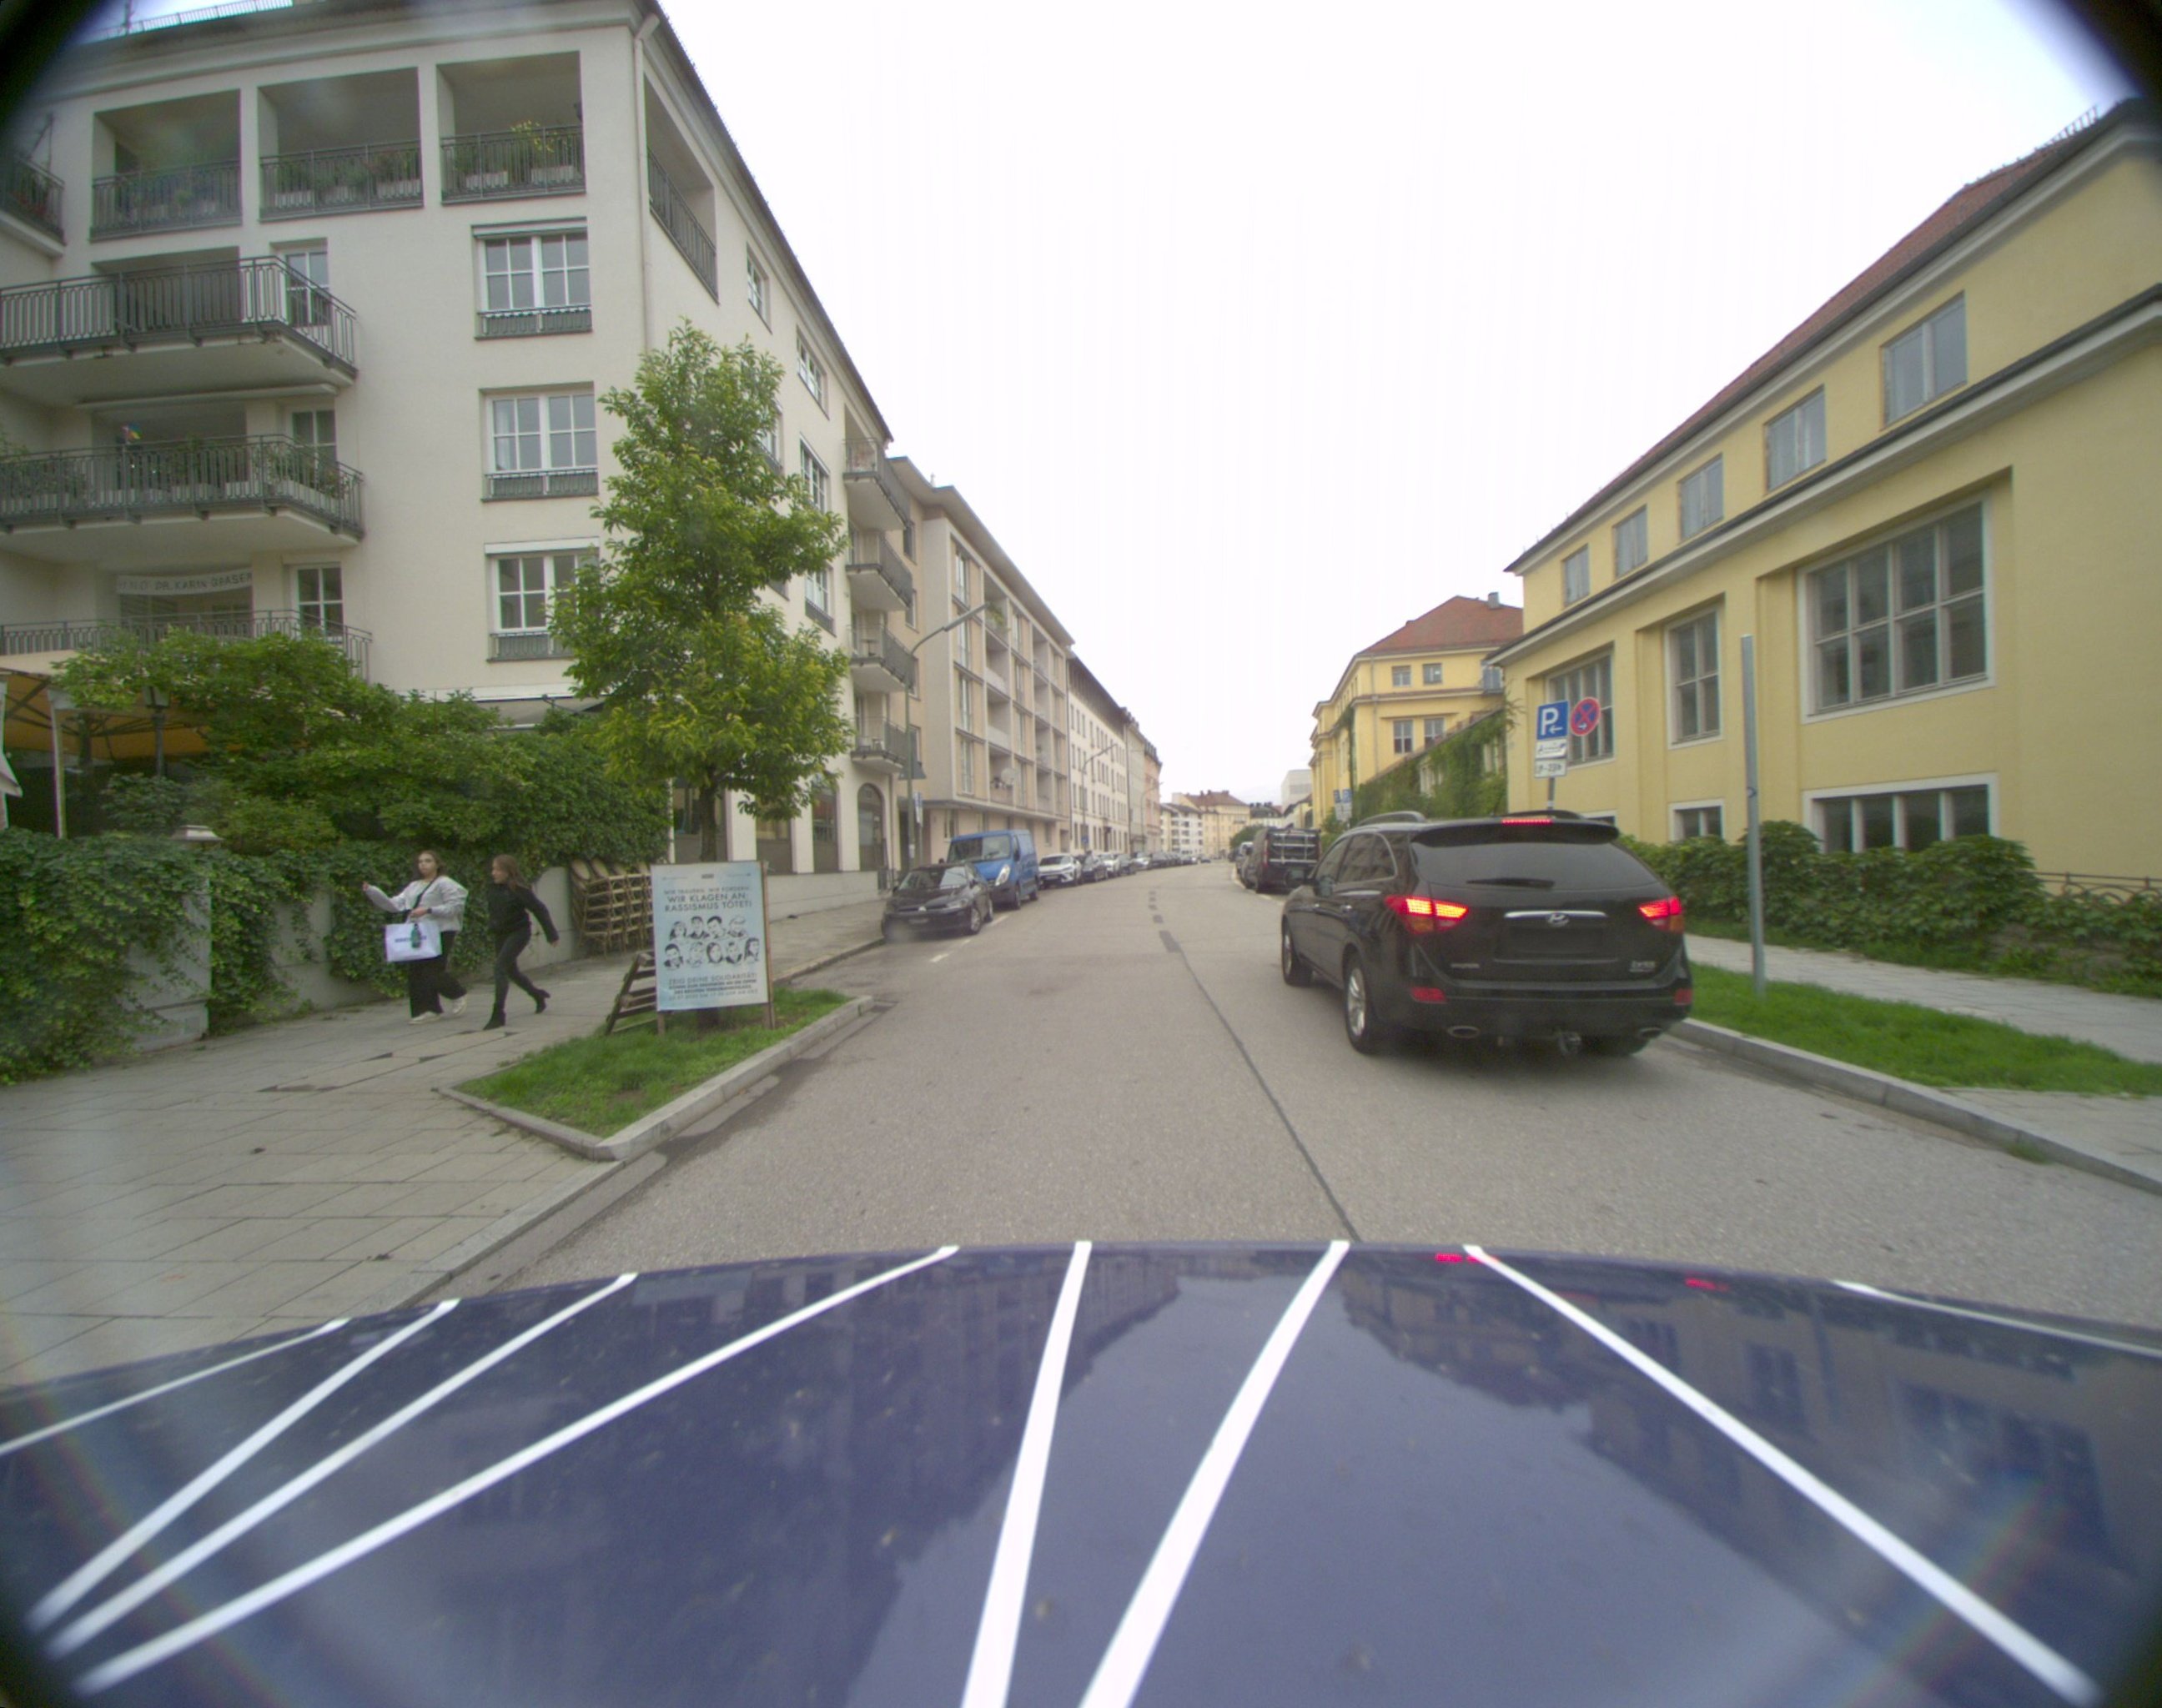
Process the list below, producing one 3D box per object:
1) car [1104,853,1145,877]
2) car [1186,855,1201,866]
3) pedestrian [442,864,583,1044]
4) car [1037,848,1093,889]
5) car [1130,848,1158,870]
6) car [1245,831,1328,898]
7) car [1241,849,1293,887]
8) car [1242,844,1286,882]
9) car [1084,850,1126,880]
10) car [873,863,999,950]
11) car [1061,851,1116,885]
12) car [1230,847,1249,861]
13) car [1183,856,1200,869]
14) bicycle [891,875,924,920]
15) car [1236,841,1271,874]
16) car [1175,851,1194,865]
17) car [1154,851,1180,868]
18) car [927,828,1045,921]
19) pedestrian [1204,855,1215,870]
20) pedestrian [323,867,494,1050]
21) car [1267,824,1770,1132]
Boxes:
[{"bbox_3d":[2.846,0.669,48.608,1.830,1.373,4.495,-4,-1,12],"label":"car"},{"bbox_3d":[17.021,0.973,114.801,1.999,1.563,4.495,-4,-1,12],"label":"car"},{"bbox_3d":[-5.451,0.920,7.339,0.680,1.619,0.829,-1,2,2],"label":"pedestrian"},{"bbox_3d":[-0.637,0.627,33.560,1.779,1.513,4.306,-6,-1,6],"label":"car"},{"bbox_3d":[4.944,0.375,59.213,1.617,1.507,3.383,-5,-1,13],"label":"car"},{"bbox_3d":[6.656,0.310,25.131,1.929,1.967,4.625,1,0,6],"label":"car"},{"bbox_3d":[7.423,0.545,30.588,1.709,1.357,4.005,3,0,10],"label":"car"},{"bbox_3d":[8.438,0.400,35.341,1.705,1.597,4.495,2,1,11],"label":"car"},{"bbox_3d":[1.439,0.600,43.712,1.705,1.460,4.123,-6,-1,10],"label":"car"},{"bbox_3d":[-2.867,0.991,15.898,1.719,1.386,4.000,-5,0,0],"label":"car"},{"bbox_3d":[0.464,0.678,38.630,1.775,1.420,4.697,-6,-1,12],"label":"car"},{"bbox_3d":[29.948,0.071,143.621,2.845,2.536,6.896,-1,0,6],"label":"car"},{"bbox_3d":[14.327,1.062,98.468,1.723,1.457,4.197,-4,-1,13],"label":"car"},{"bbox_3d":[-4.447,1.094,19.538,0.566,1.063,1.786,-1,0,-5],"label":"bicycle"},{"bbox_3d":[10.423,0.203,46.075,1.896,1.788,4.885,3,1,12],"label":"car"},{"bbox_3d":[12.528,0.482,91.935,1.767,1.531,4.004,-4,-1,12],"label":"car"},{"bbox_3d":[7.808,0.472,68.677,1.876,1.439,4.704,-3,-1,11],"label":"car"},{"bbox_3d":[-2.583,0.459,22.119,2.114,2.201,5.029,-6,1,6],"label":"car"},{"bbox_3d":[24.274,1.574,143.812,1.928,2.933,2.027,-1,0,12],"label":"pedestrian"},{"bbox_3d":[-6.293,0.939,7.165,0.808,1.597,0.830,-1,2,3],"label":"pedestrian"},{"bbox_3d":[3.009,0.718,6.590,1.998,1.709,4.617,-1,0,5],"label":"car"}]
